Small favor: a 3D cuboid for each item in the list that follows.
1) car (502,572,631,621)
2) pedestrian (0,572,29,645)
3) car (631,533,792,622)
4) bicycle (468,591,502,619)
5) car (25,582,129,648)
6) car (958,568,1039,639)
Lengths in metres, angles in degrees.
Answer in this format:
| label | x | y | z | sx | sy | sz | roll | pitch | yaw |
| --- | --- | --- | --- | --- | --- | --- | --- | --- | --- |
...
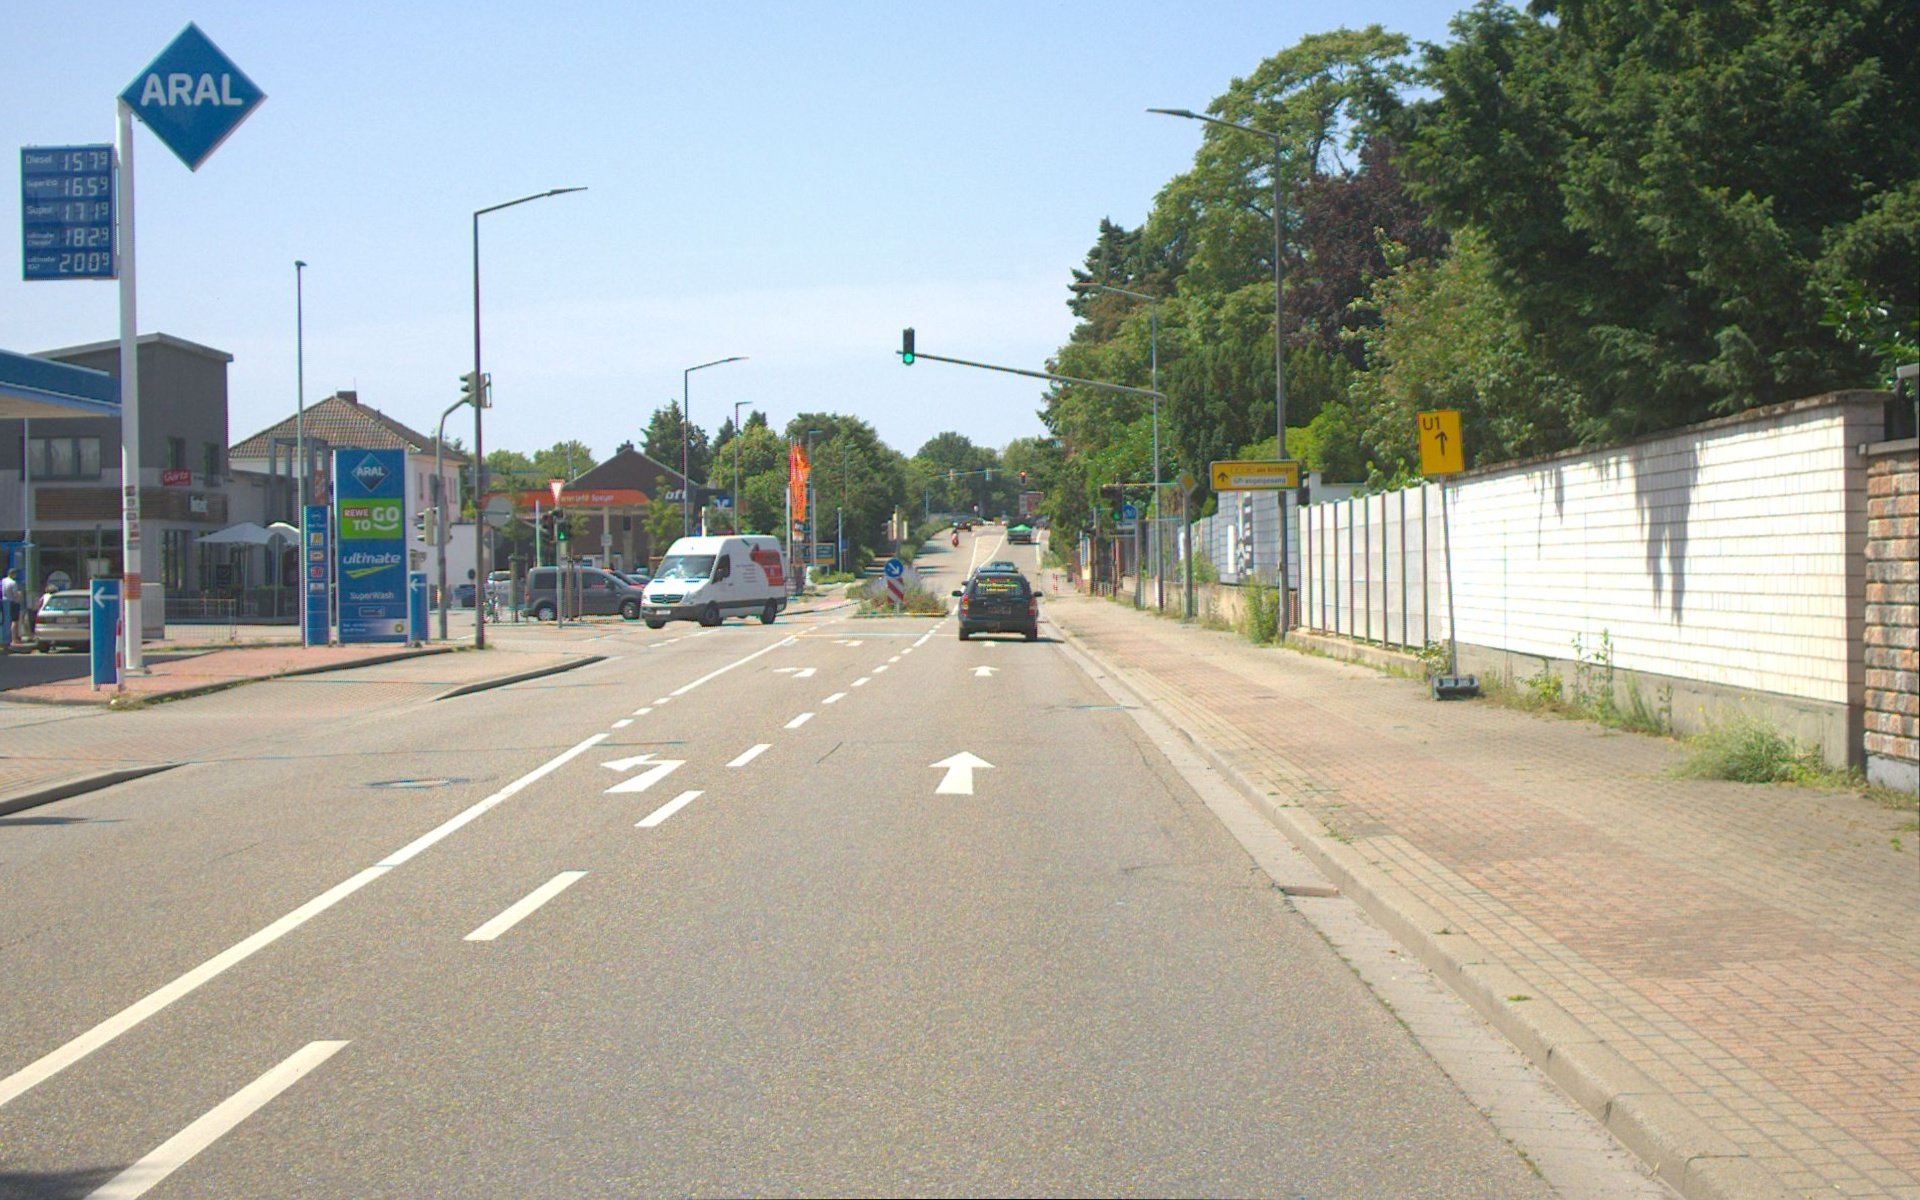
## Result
| label | x | y | z | sx | sy | sz | roll | pitch | yaw |
| --- | --- | --- | --- | --- | --- | --- | --- | --- | --- |
| car | -12.605 | -0.124 | 110.166 | 3.986 | 1.503 | 1.555 | -1 | 1 | -2 |
| pedestrian | -22.289 | 0.199 | 80.871 | 0.610 | 1.685 | 0.709 | -1 | 0 | -25 |
| car | -7.103 | -0.614 | 98.930 | 1.996 | 2.414 | 5.939 | 0 | -1 | 25 |
| bicycle | -13.978 | 0.132 | 101.199 | 0.612 | 0.790 | 2.575 | -1 | 1 | 1 |
| car | -20.470 | 0.335 | 79.798 | 1.617 | 1.415 | 3.712 | -3 | 1 | -4 |
| car | 0.822 | 0.052 | 73.246 | 1.665 | 1.450 | 3.472 | -1 | 1 | 1 |
